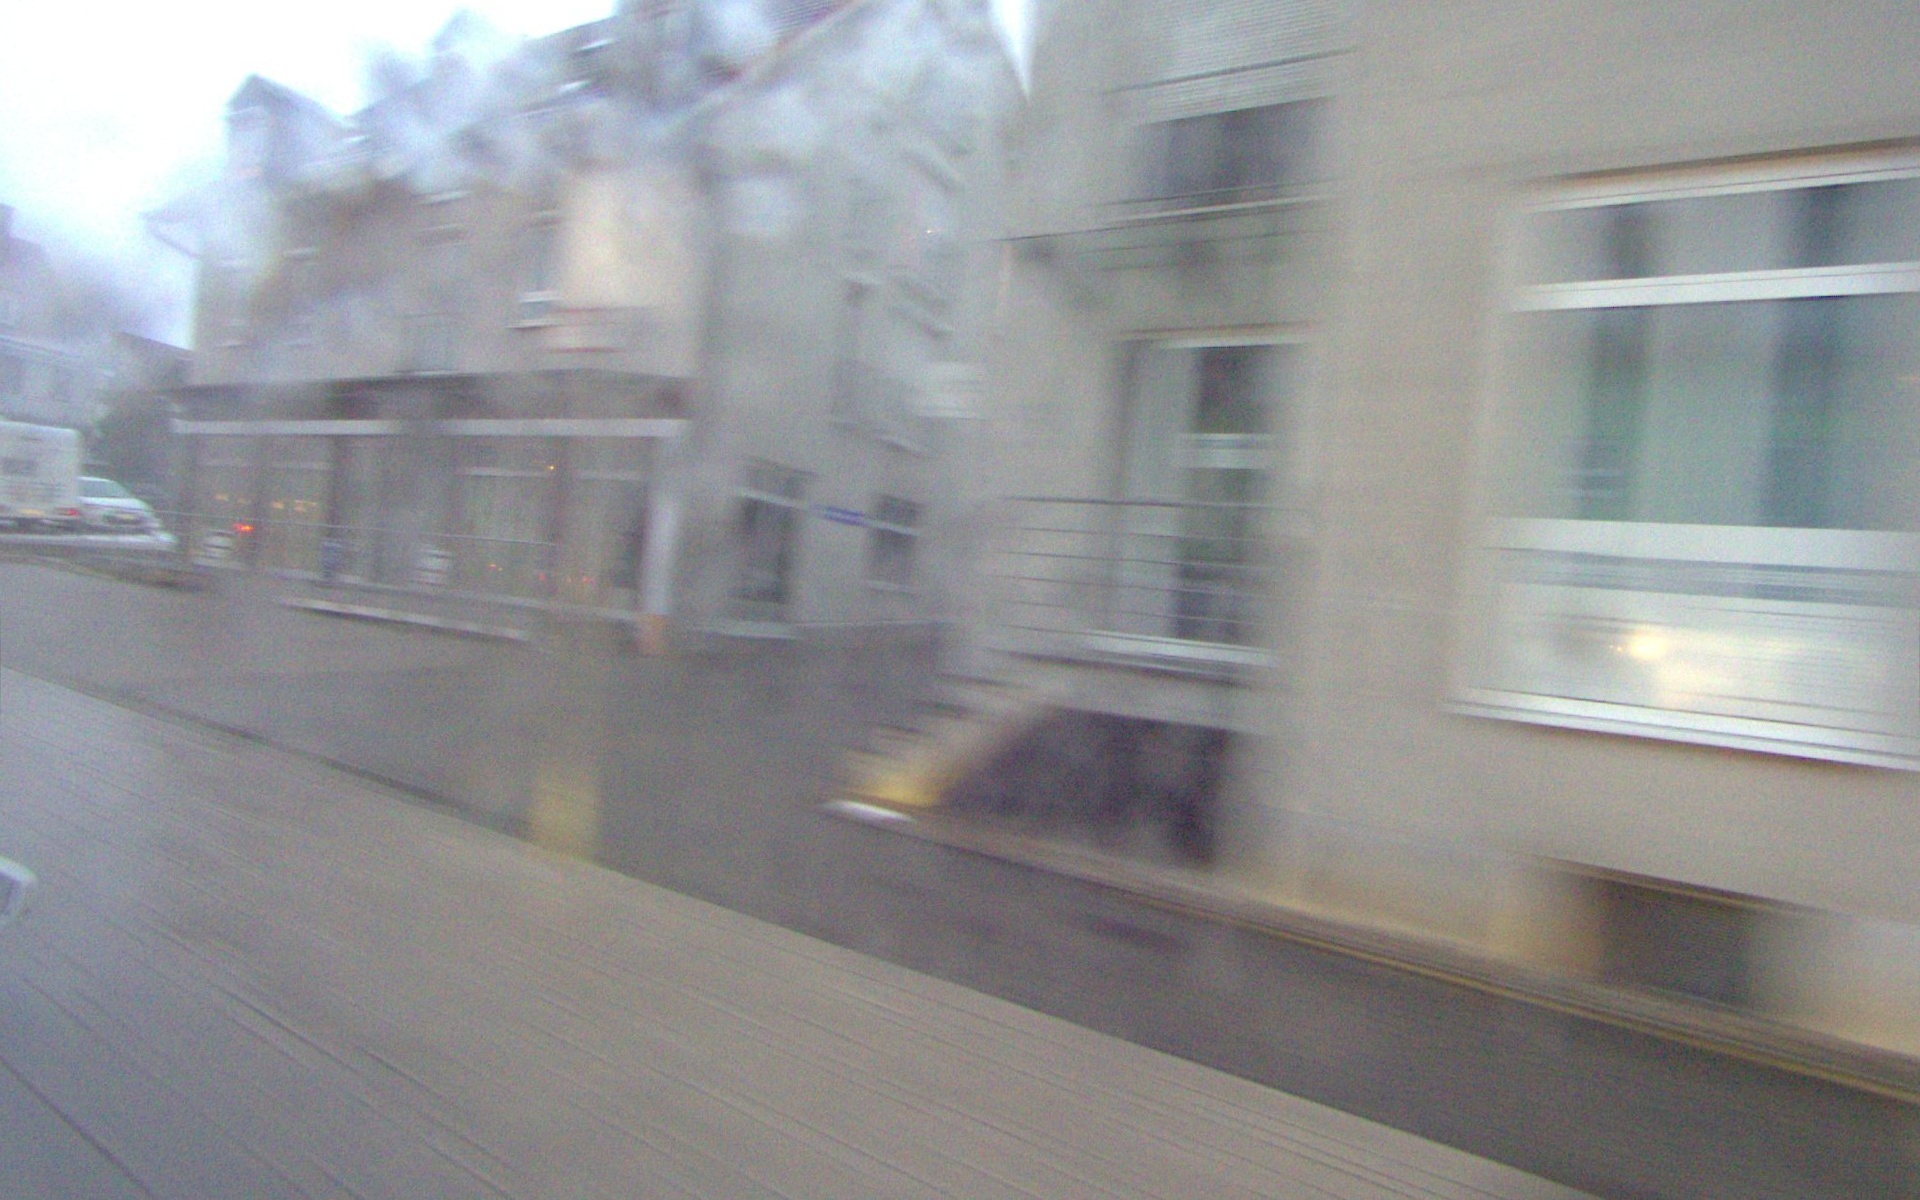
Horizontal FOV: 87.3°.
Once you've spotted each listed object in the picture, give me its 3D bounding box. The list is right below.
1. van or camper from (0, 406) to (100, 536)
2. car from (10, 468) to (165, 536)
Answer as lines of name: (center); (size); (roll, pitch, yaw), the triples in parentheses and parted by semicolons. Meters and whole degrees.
van or camper: (-26.680, -3.607, 26.758); (6.607, 3.090, 2.656); (7, 3, 18)
car: (-24.873, -2.791, 28.688); (3.927, 1.577, 1.789); (7, 6, 22)
